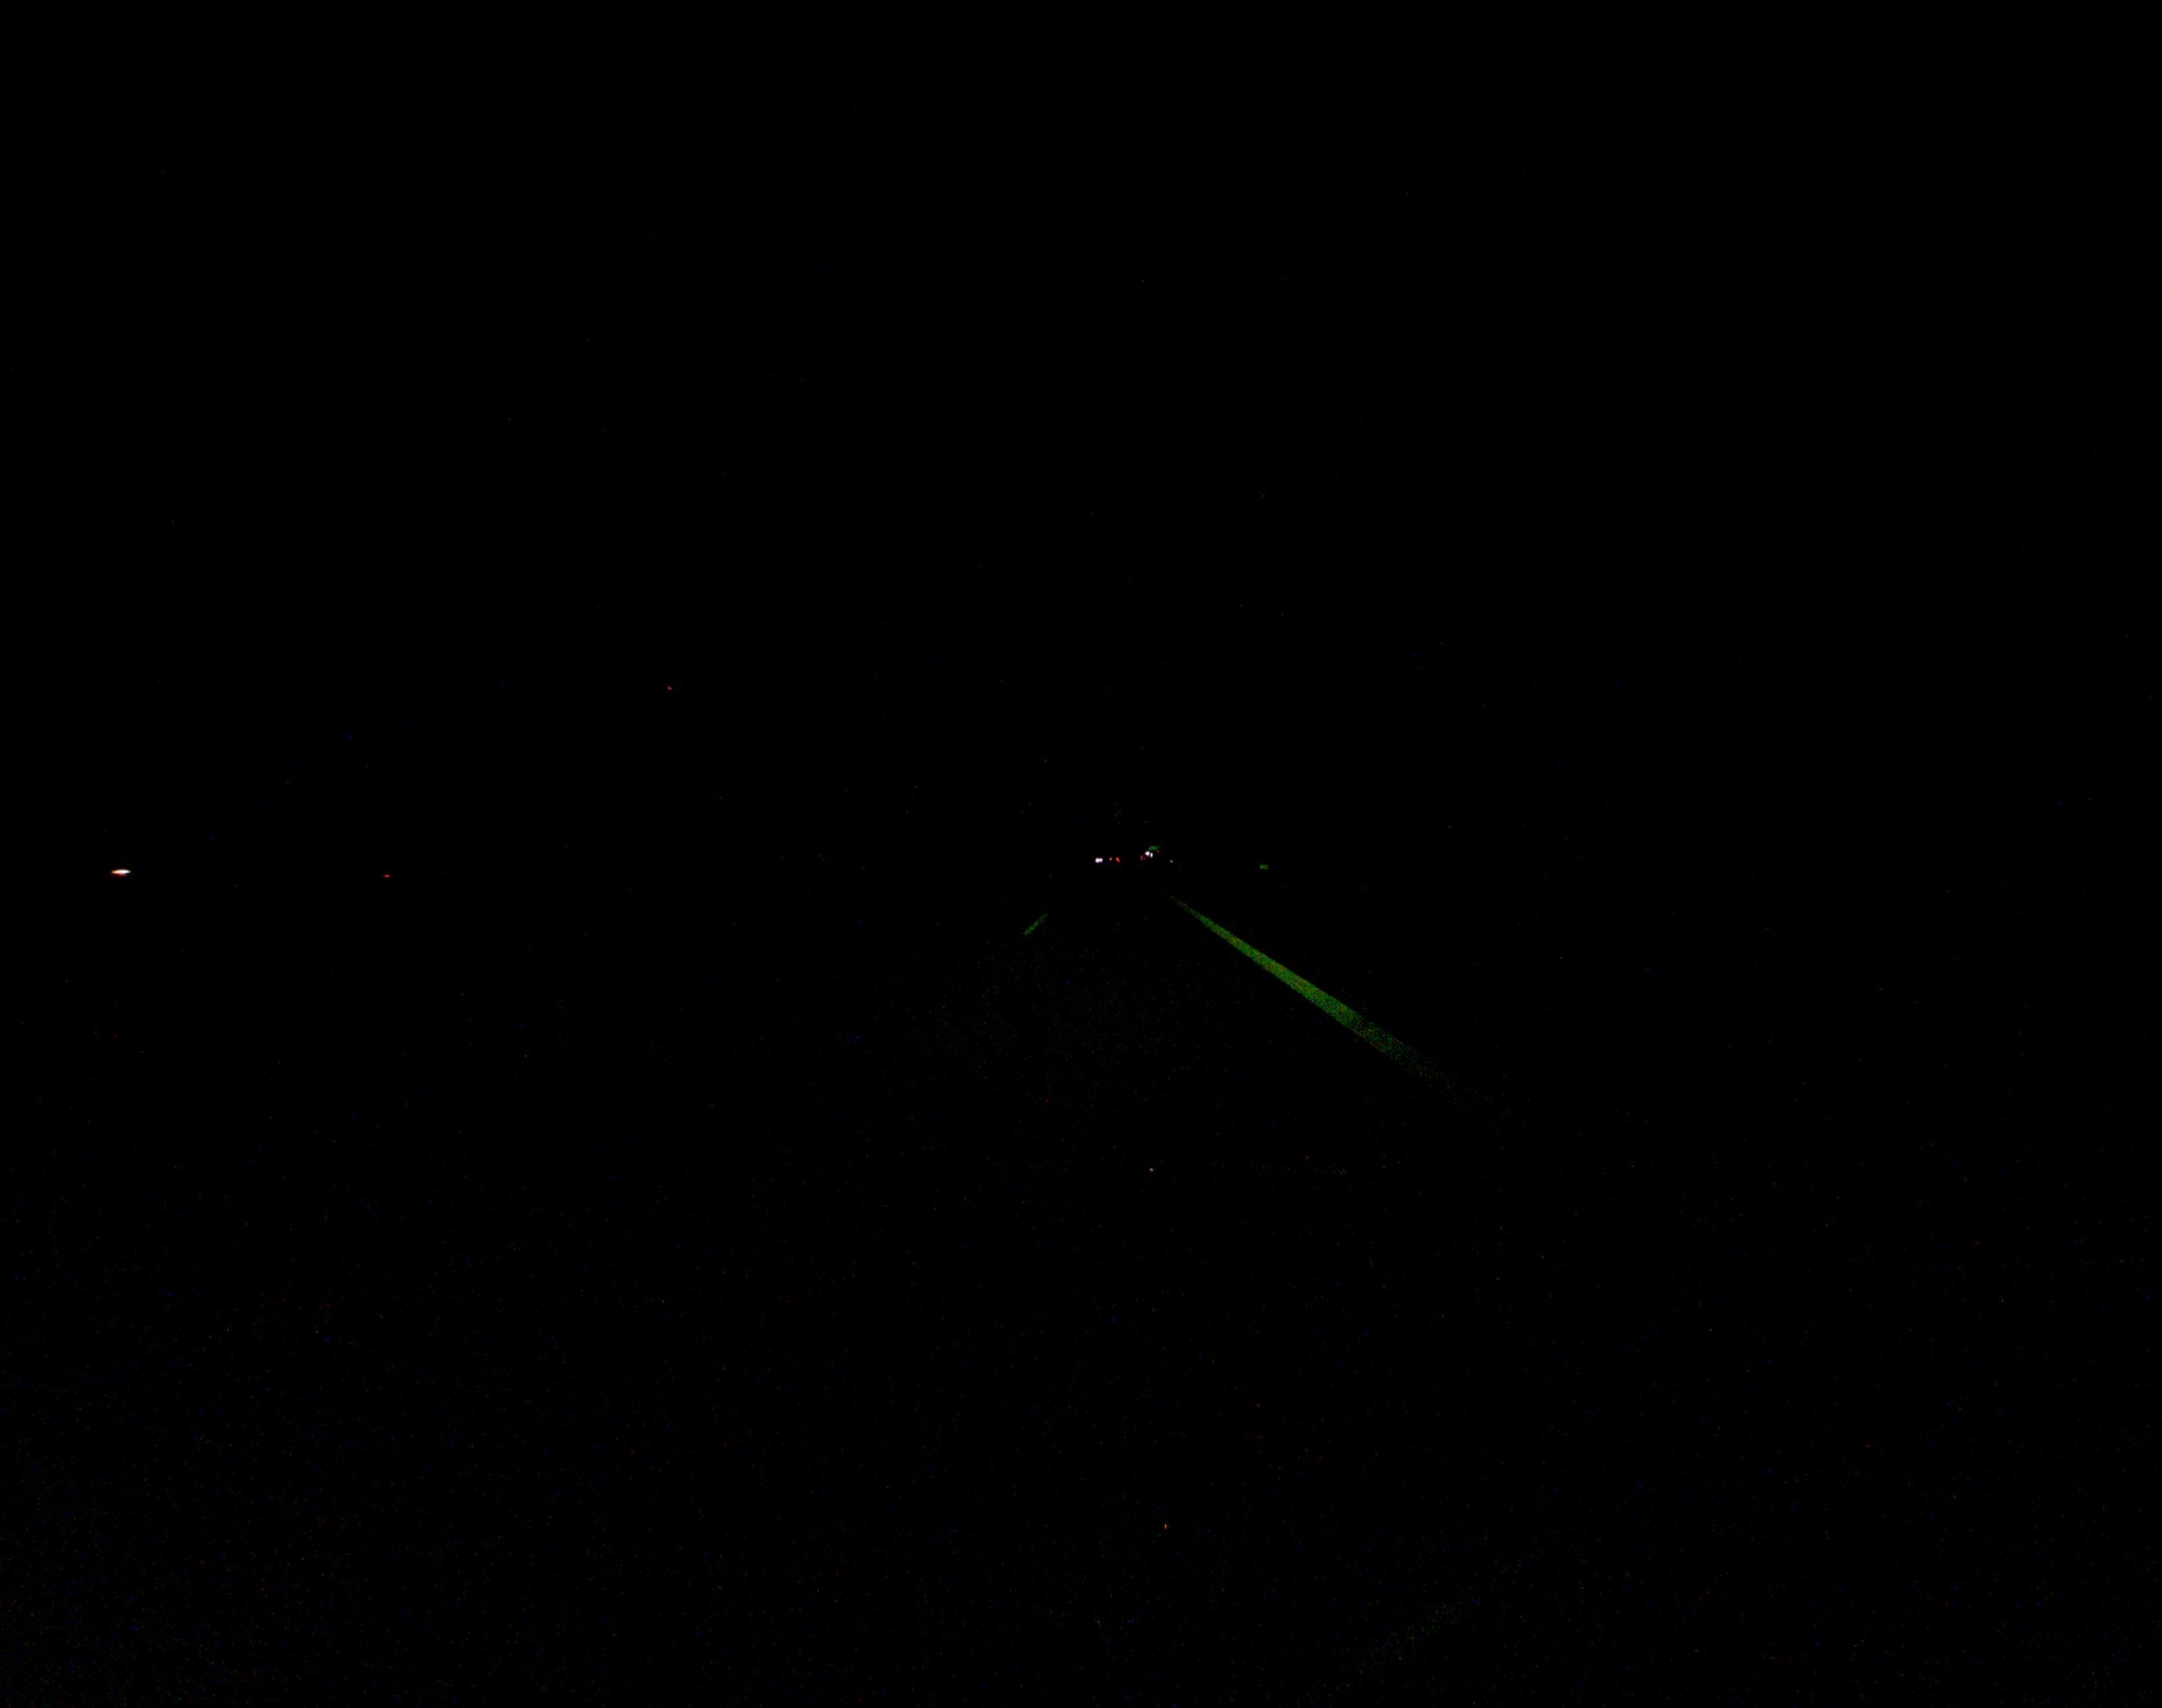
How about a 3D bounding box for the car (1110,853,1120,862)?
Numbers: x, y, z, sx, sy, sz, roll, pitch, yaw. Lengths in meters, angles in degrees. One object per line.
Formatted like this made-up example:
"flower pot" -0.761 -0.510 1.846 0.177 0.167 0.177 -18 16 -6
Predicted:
"car" 9.300 1.030 223.704 2.499 2.314 4.977 -1 -1 5
